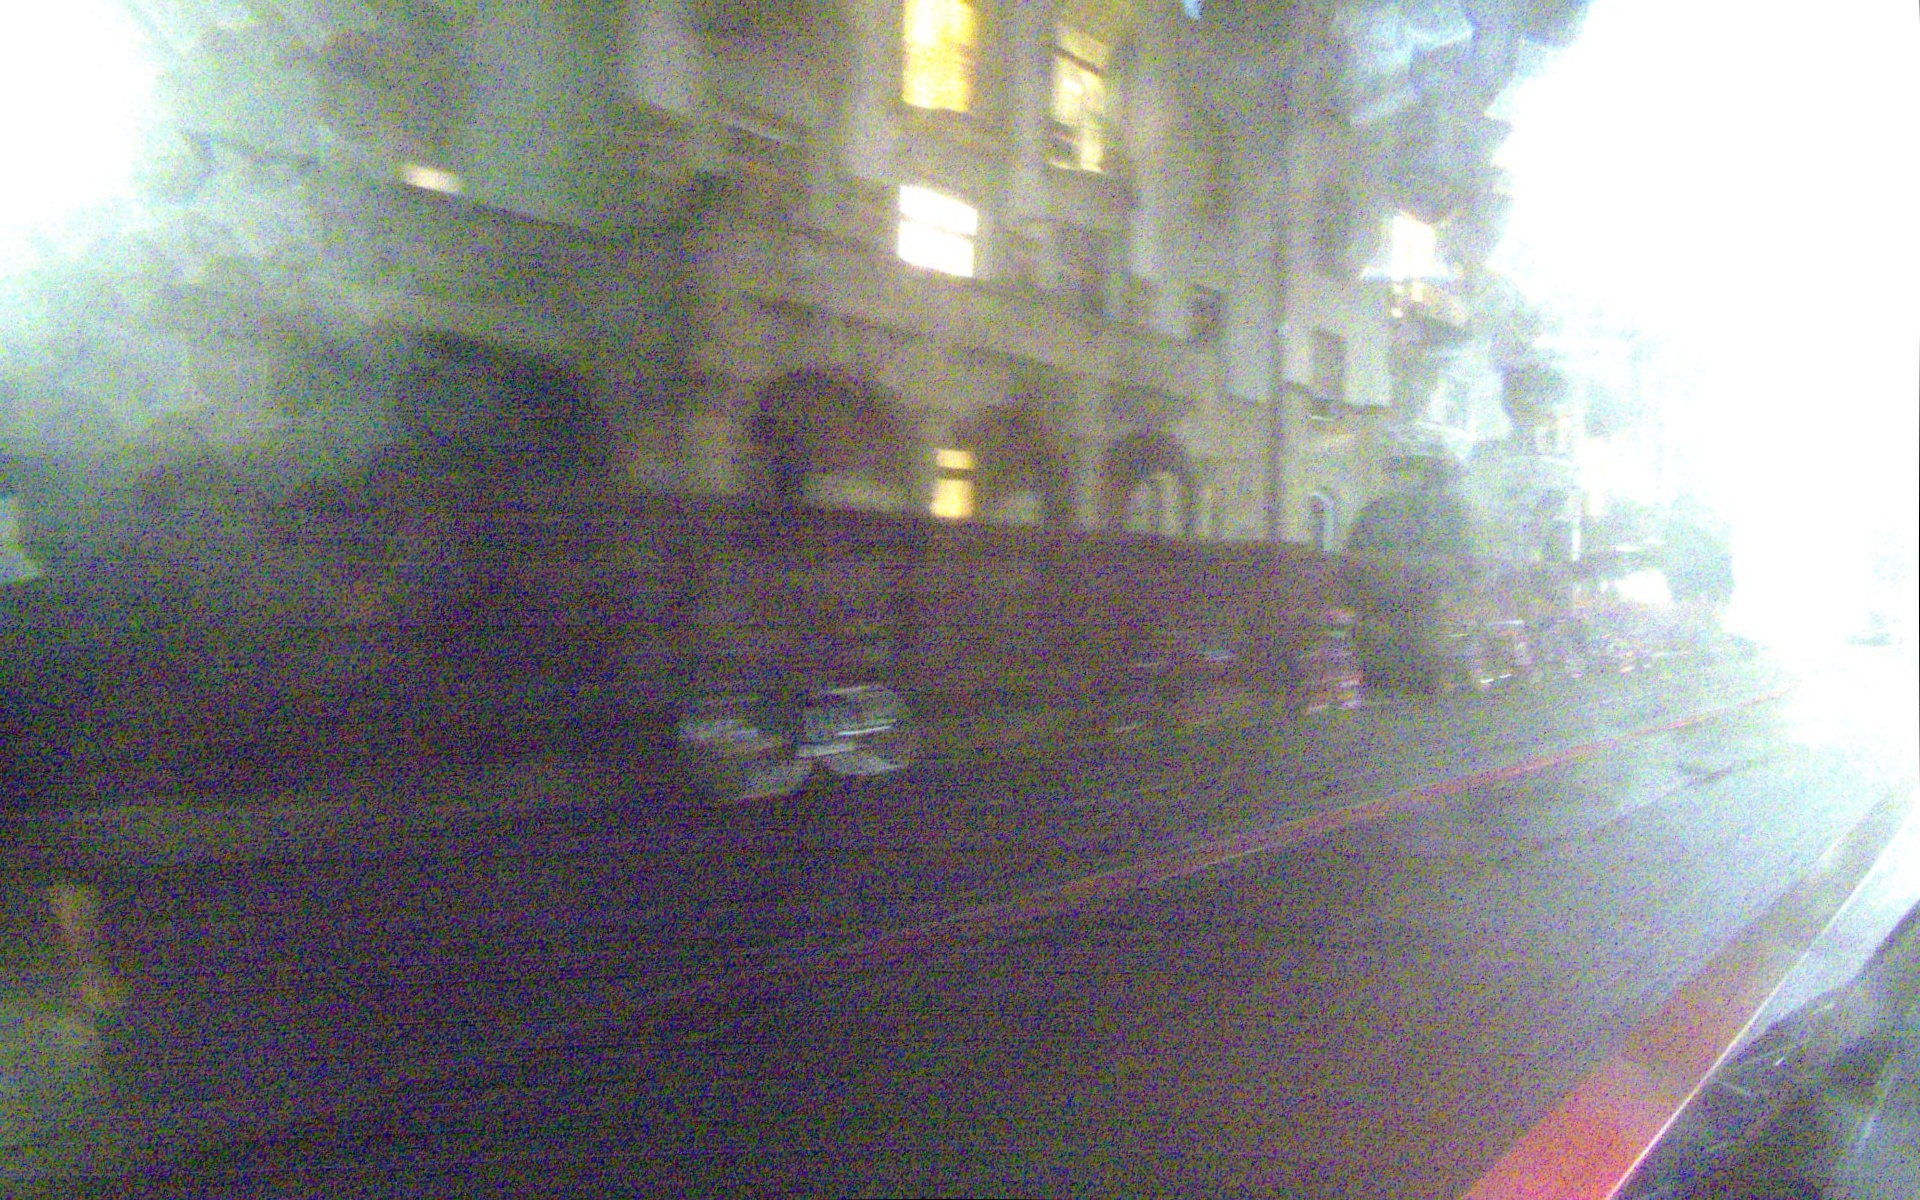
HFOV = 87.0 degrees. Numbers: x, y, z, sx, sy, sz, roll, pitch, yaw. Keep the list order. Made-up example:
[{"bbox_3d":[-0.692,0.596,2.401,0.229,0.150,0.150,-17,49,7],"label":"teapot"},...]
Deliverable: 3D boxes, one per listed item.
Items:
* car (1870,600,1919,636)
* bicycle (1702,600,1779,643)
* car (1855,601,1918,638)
[{"bbox_3d":[45.618,0.856,49.304,3.522,1.543,1.649,0,5,-45],"label":"car"},{"bbox_3d":[24.470,0.658,31.756,0.484,1.177,1.817,-1,4,-43],"label":"bicycle"},{"bbox_3d":[41.784,0.847,45.601,3.986,1.459,1.648,0,5,-43],"label":"car"}]
